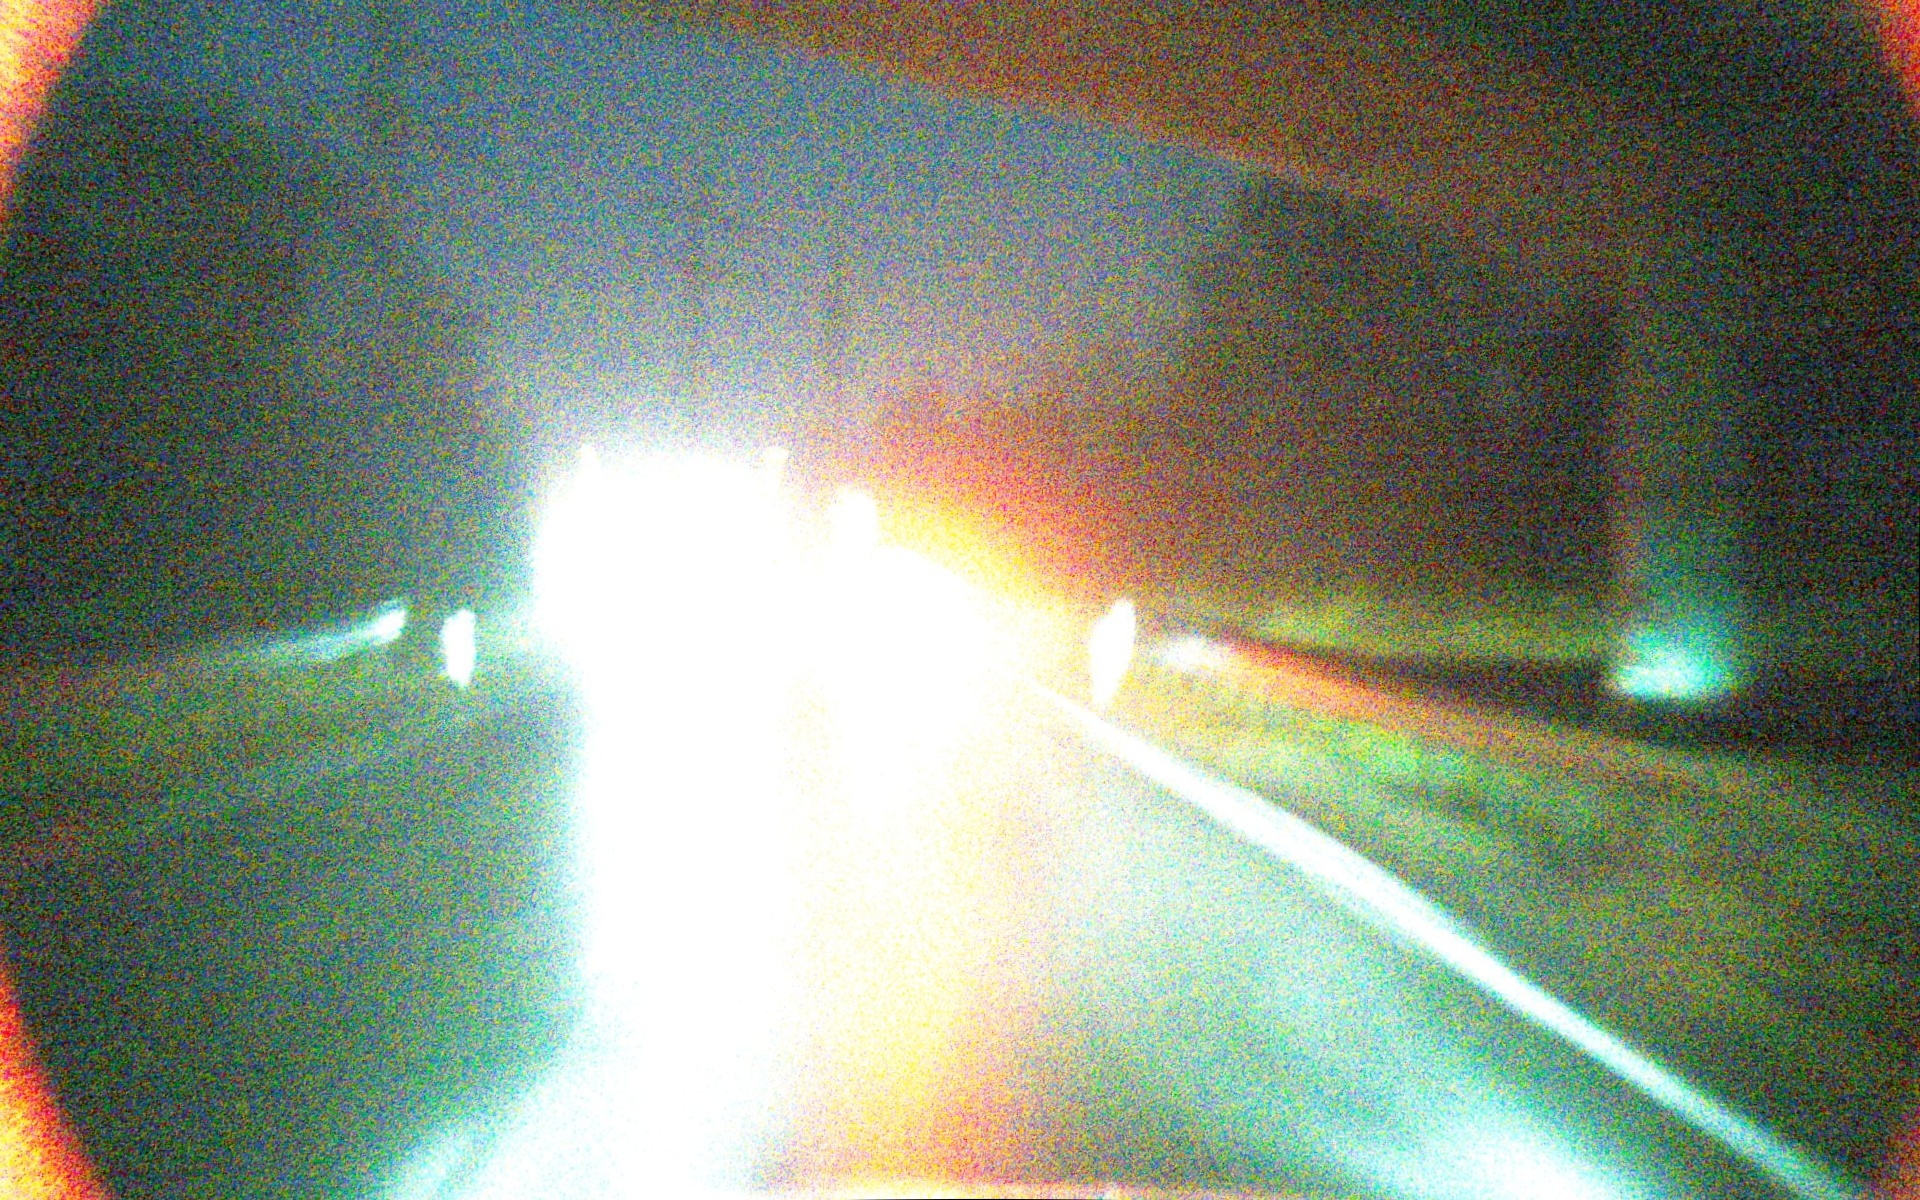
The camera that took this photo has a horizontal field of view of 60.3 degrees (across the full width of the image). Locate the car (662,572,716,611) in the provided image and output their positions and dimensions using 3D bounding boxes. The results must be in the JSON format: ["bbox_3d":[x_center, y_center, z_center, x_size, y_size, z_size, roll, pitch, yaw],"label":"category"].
[{"bbox_3d":[-12.158,-0.409,74.084,1.898,1.612,4.965,-2,1,-15],"label":"car"}]

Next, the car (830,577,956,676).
[{"bbox_3d":[-1.359,0.436,31.547,1.956,1.656,4.977,1,1,-7],"label":"car"}]

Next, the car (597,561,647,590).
[{"bbox_3d":[-21.189,-1.519,103.570,1.968,1.738,4.946,-2,1,-24],"label":"car"}]
